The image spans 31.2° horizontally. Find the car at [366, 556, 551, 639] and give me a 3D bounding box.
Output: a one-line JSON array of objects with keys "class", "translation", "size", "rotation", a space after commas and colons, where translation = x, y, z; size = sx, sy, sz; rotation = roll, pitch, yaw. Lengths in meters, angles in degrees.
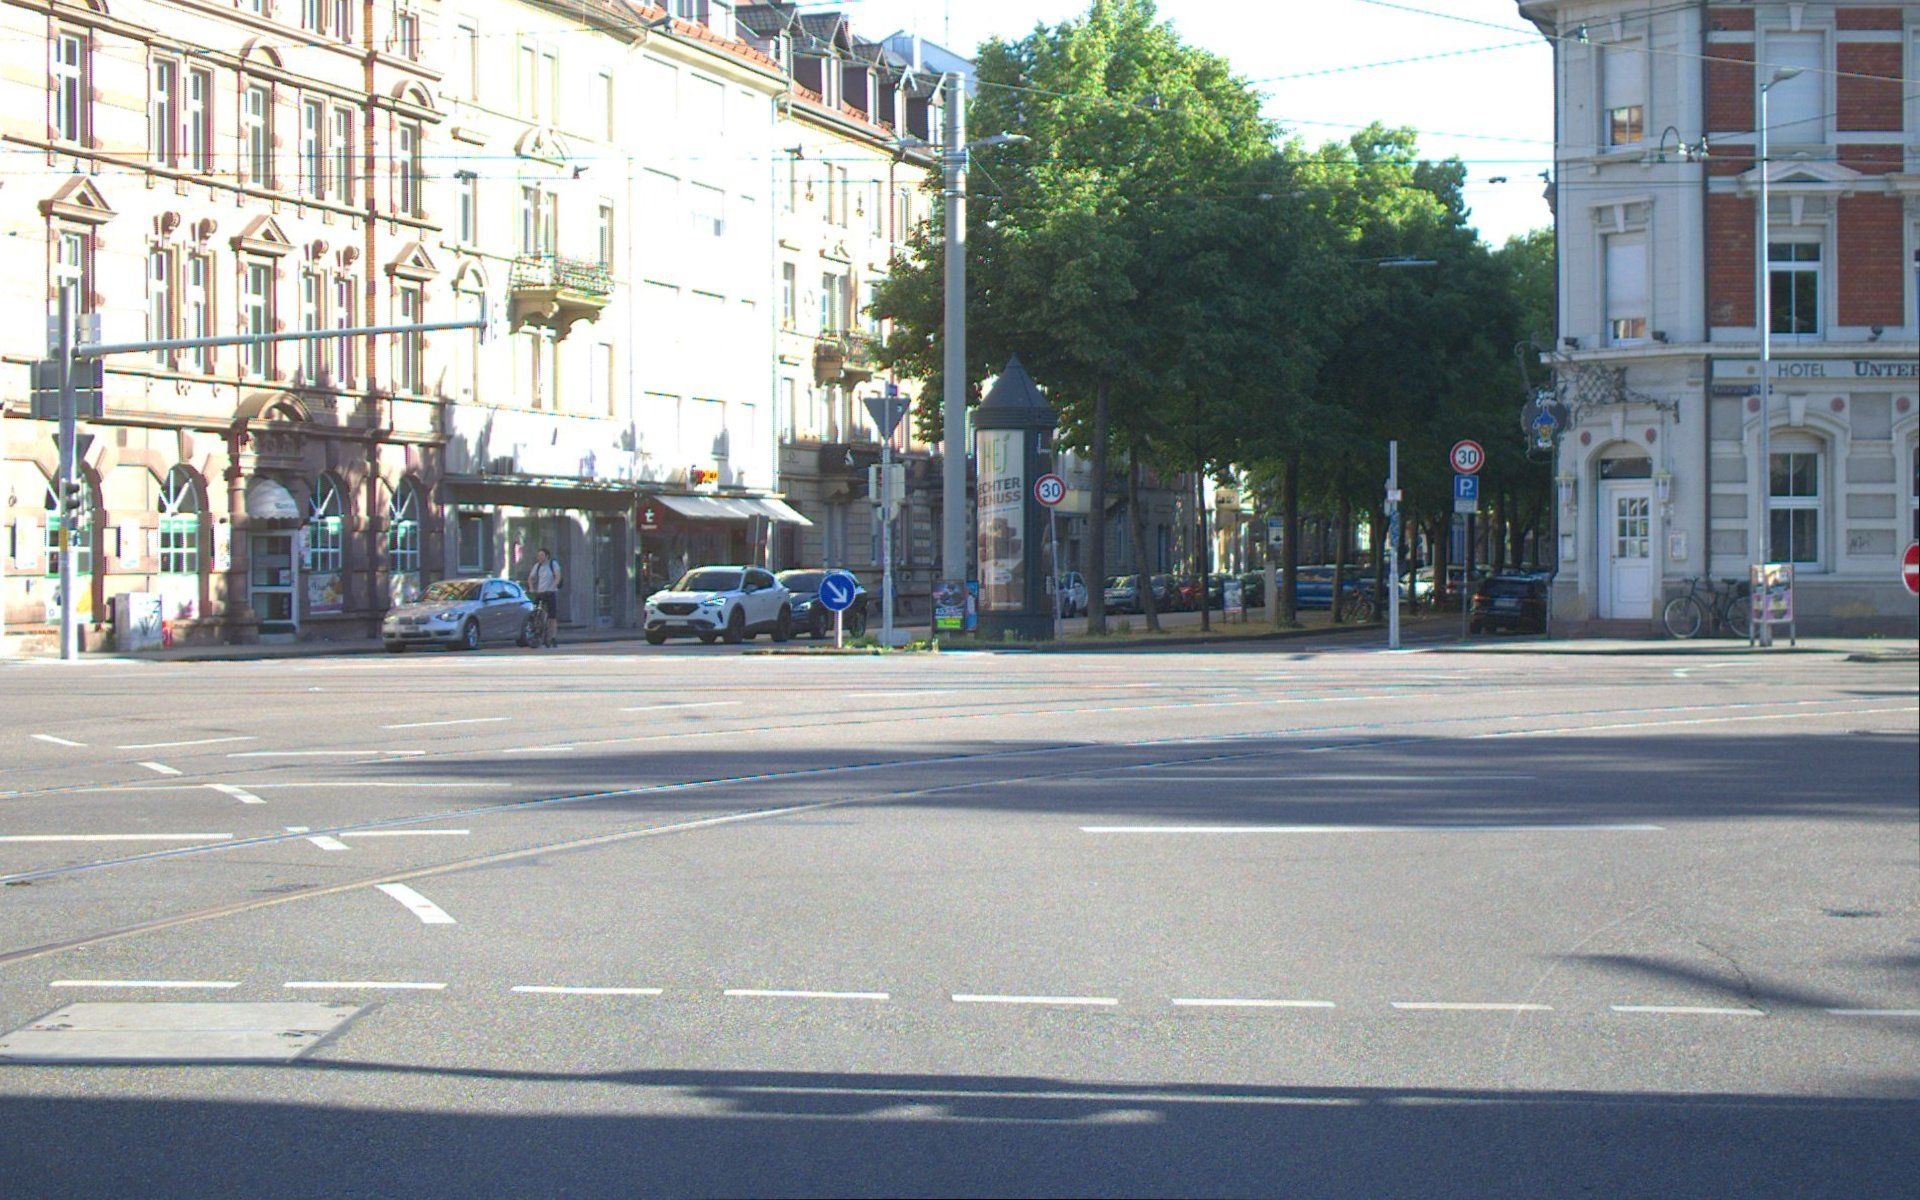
[{"class": "car", "translation": [-9.775, -0.071, 67.381], "size": [2.098, 1.540, 4.361], "rotation": [0, 1, 14]}]

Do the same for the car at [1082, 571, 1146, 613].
[{"class": "car", "translation": [5.508, -0.302, 122.785], "size": [1.741, 1.393, 4.122], "rotation": [3, 1, 9]}]

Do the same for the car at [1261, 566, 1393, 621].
[{"class": "car", "translation": [12.292, -0.226, 115.227], "size": [4.113, 1.640, 1.745], "rotation": [3, 1, 15]}]

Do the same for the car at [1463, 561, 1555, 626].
[{"class": "car", "translation": [13.169, -0.158, 82.288], "size": [1.652, 1.519, 3.750], "rotation": [0, 0, 17]}]

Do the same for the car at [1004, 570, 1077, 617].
[{"class": "car", "translation": [2.598, -0.215, 110.002], "size": [1.741, 1.393, 4.122], "rotation": [3, 1, 9]}]

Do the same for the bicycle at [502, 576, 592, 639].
[{"class": "bicycle", "translation": [-7.864, 0.127, 65.630], "size": [0.751, 1.131, 2.808], "rotation": [0, 1, 14]}]

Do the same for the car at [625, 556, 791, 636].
[{"class": "car", "translation": [-4.876, -0.104, 67.167], "size": [2.098, 1.494, 3.998], "rotation": [0, 1, 14]}]

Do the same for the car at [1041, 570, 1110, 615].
[{"class": "car", "translation": [3.922, -0.254, 115.807], "size": [1.741, 1.393, 4.122], "rotation": [3, 1, 9]}]

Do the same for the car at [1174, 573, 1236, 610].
[{"class": "car", "translation": [9.726, -0.347, 136.387], "size": [1.742, 1.393, 4.121], "rotation": [3, 1, 13]}]

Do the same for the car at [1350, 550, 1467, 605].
[{"class": "car", "translation": [17.409, -0.877, 133.426], "size": [4.115, 1.912, 1.744], "rotation": [3, 1, 21]}]

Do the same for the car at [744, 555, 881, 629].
[{"class": "car", "translation": [-3.127, -0.190, 73.534], "size": [1.994, 1.508, 3.998], "rotation": [0, 1, 12]}]

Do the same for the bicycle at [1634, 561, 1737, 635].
[{"class": "bicycle", "translation": [12.065, -0.037, 57.136], "size": [1.639, 1.218, 0.606], "rotation": [0, 1, 16]}]

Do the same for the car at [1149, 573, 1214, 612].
[{"class": "car", "translation": [8.508, -0.312, 131.609], "size": [1.742, 1.393, 4.121], "rotation": [3, 1, 13]}]

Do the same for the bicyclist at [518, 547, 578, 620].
[{"class": "bicyclist", "translation": [-7.851, -0.314, 65.592], "size": [0.794, 1.370, 1.107], "rotation": [0, 1, 14]}]
